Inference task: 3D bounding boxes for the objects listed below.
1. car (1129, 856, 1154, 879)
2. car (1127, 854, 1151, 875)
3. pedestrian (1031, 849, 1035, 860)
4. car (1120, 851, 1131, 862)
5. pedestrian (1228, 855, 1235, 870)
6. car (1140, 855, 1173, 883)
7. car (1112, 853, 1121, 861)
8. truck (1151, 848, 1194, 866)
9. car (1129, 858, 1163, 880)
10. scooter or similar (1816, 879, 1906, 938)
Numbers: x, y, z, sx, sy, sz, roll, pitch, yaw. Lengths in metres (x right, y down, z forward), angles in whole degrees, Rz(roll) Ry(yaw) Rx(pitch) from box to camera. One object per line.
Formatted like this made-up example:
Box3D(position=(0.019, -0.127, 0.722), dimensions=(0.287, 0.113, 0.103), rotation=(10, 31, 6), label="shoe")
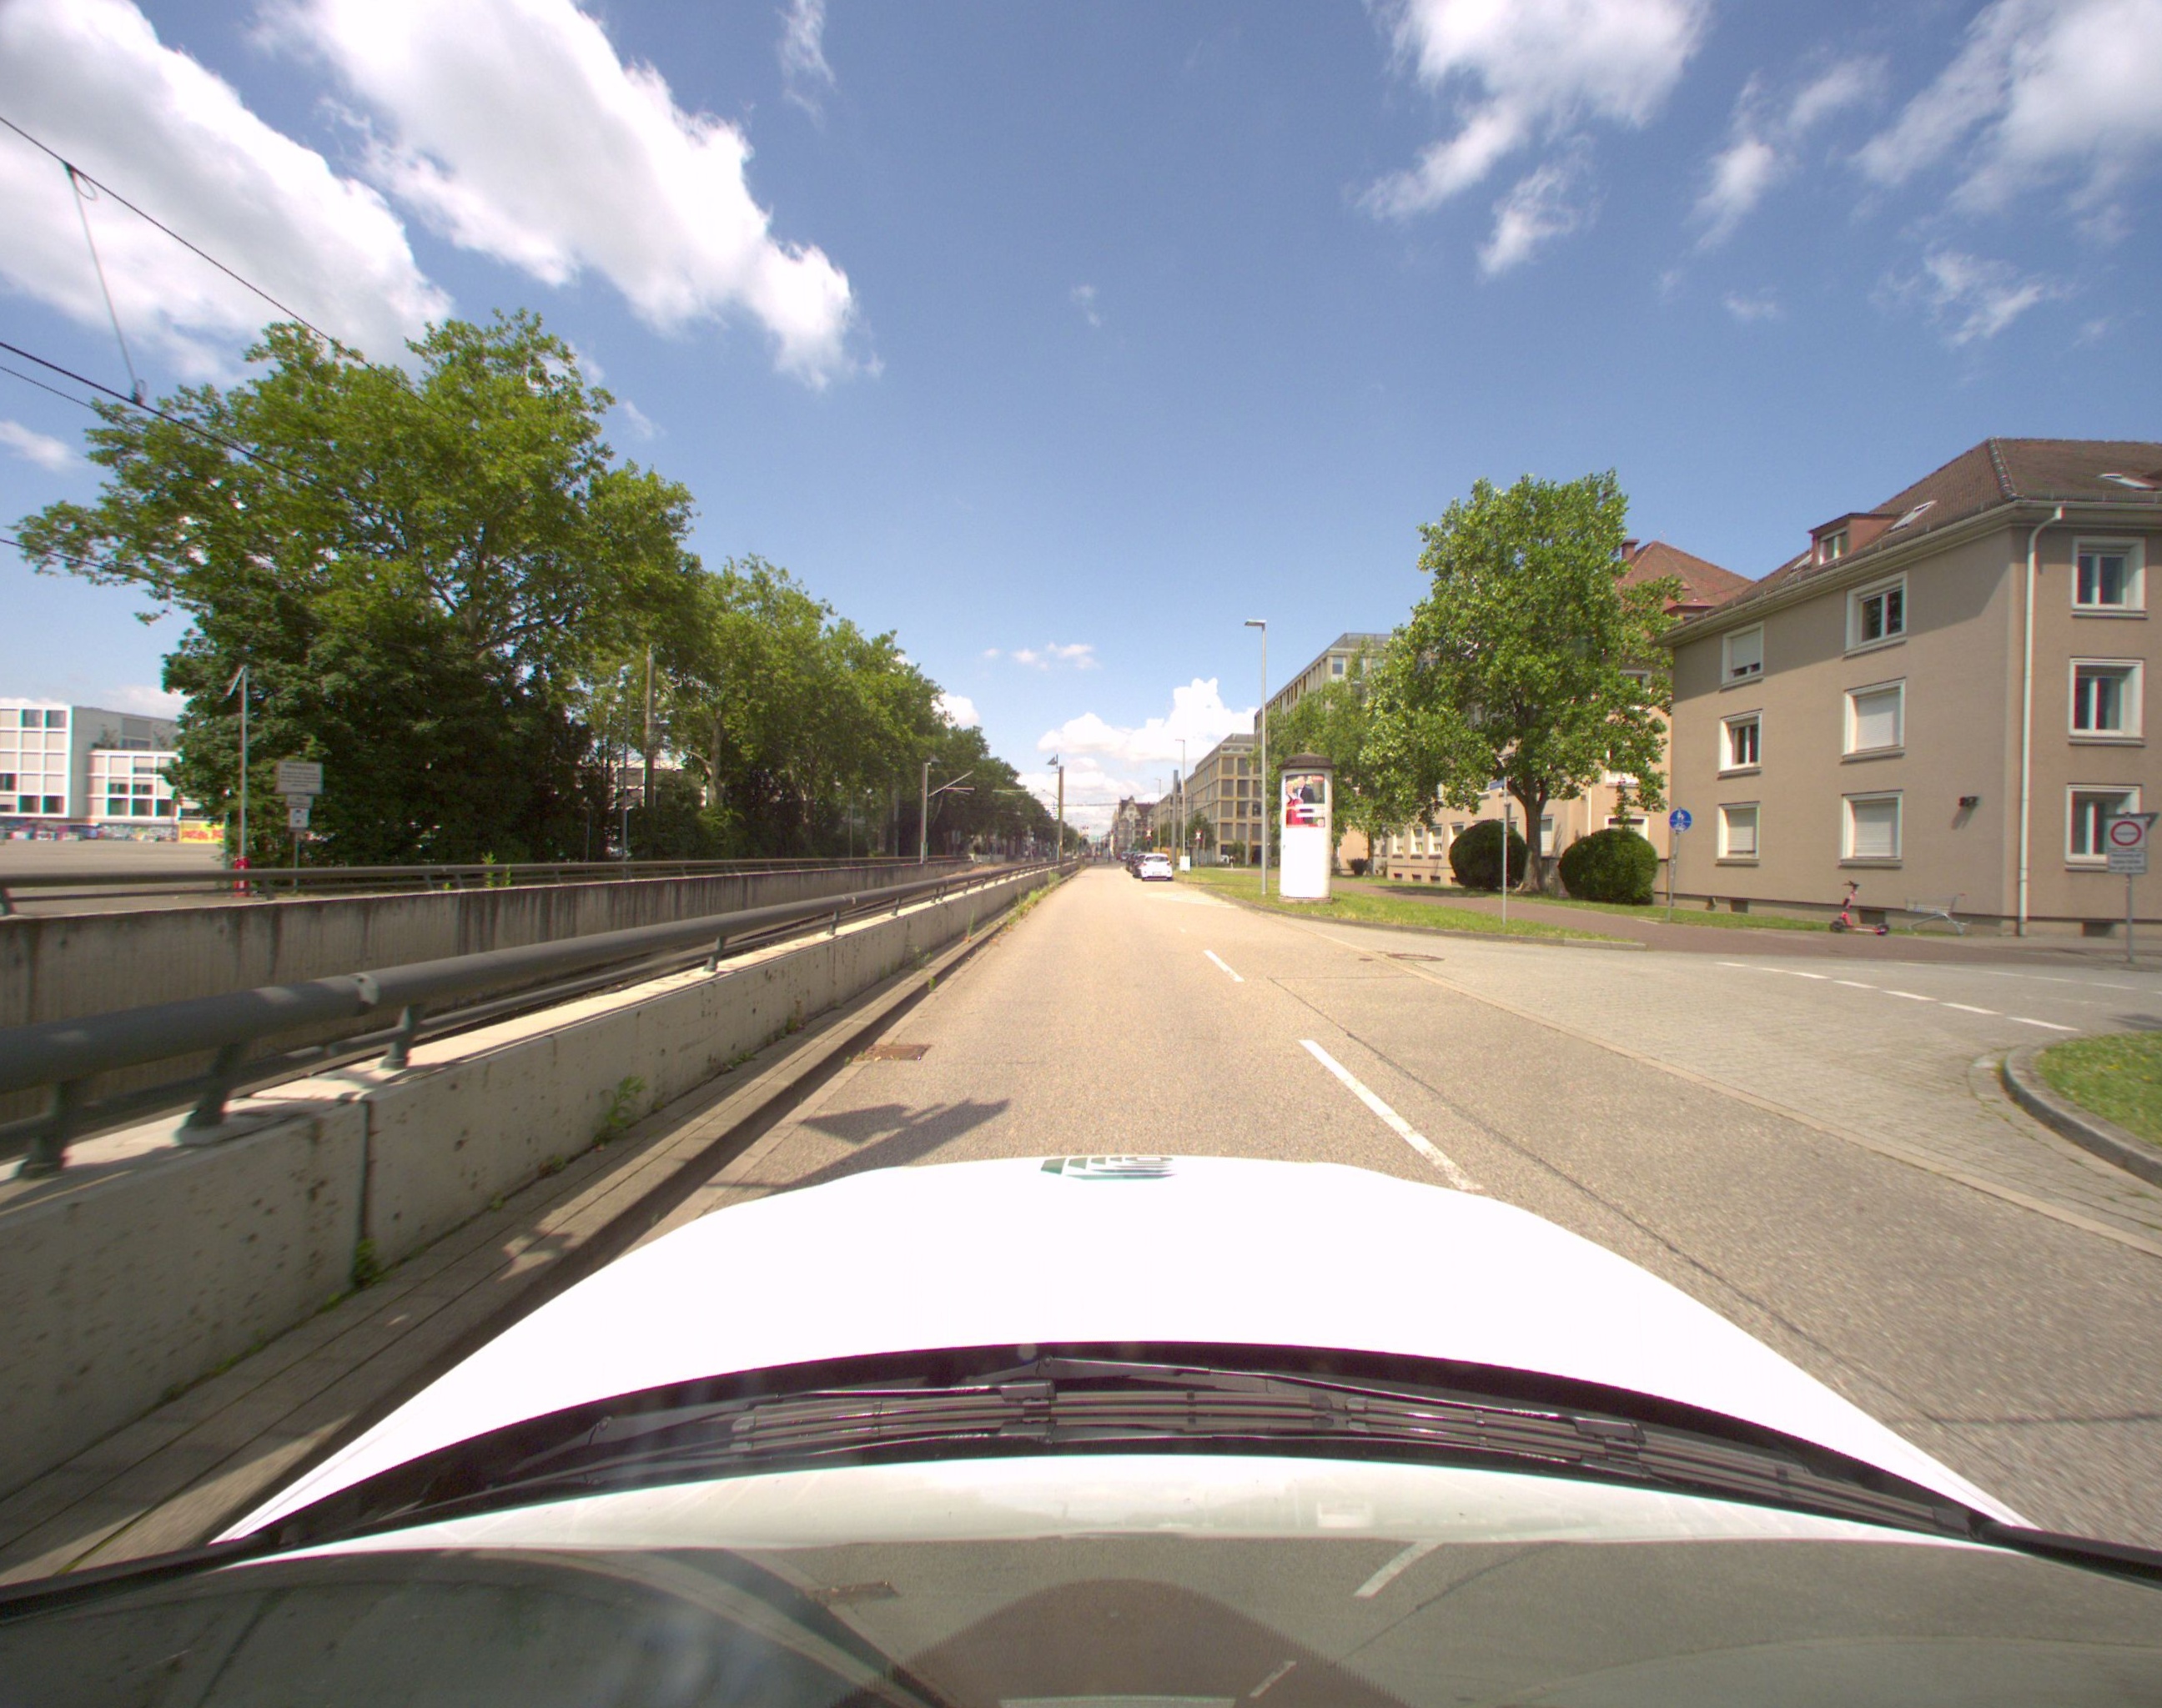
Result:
Box3D(position=(4.122, 0.892, 55.791), dimensions=(1.662, 1.515, 3.853), rotation=(0, 0, 3), label="car")
Box3D(position=(4.827, 0.830, 68.001), dimensions=(1.810, 1.662, 4.671), rotation=(0, 0, 1), label="car")
Box3D(position=(-8.148, 0.078, 138.302), dimensions=(0.704, 1.845, 0.864), rotation=(0, -1, 0), label="pedestrian")
Box3D(position=(7.951, 0.473, 146.224), dimensions=(1.862, 1.746, 4.000), rotation=(2, 0, 1), label="car")
Box3D(position=(15.340, 0.874, 83.160), dimensions=(0.620, 1.608, 0.624), rotation=(0, -1, -2), label="pedestrian")
Box3D(position=(4.193, 0.828, 45.719), dimensions=(1.700, 1.479, 3.792), rotation=(0, 0, 3), label="car")
Box3D(position=(8.683, 0.689, 198.178), dimensions=(1.986, 2.014, 4.001), rotation=(0, -1, 1), label="car")
Box3D(position=(15.101, 0.501, 134.454), dimensions=(6.787, 2.867, 2.453), rotation=(1, -1, -2), label="truck")
Box3D(position=(3.995, 0.905, 50.710), dimensions=(1.817, 1.312, 4.443), rotation=(0, 0, 1), label="car")
Box3D(position=(18.362, 1.271, 19.191), dimensions=(1.428, 1.303, 0.549), rotation=(1, -1, 16), label="scooter or similar")
